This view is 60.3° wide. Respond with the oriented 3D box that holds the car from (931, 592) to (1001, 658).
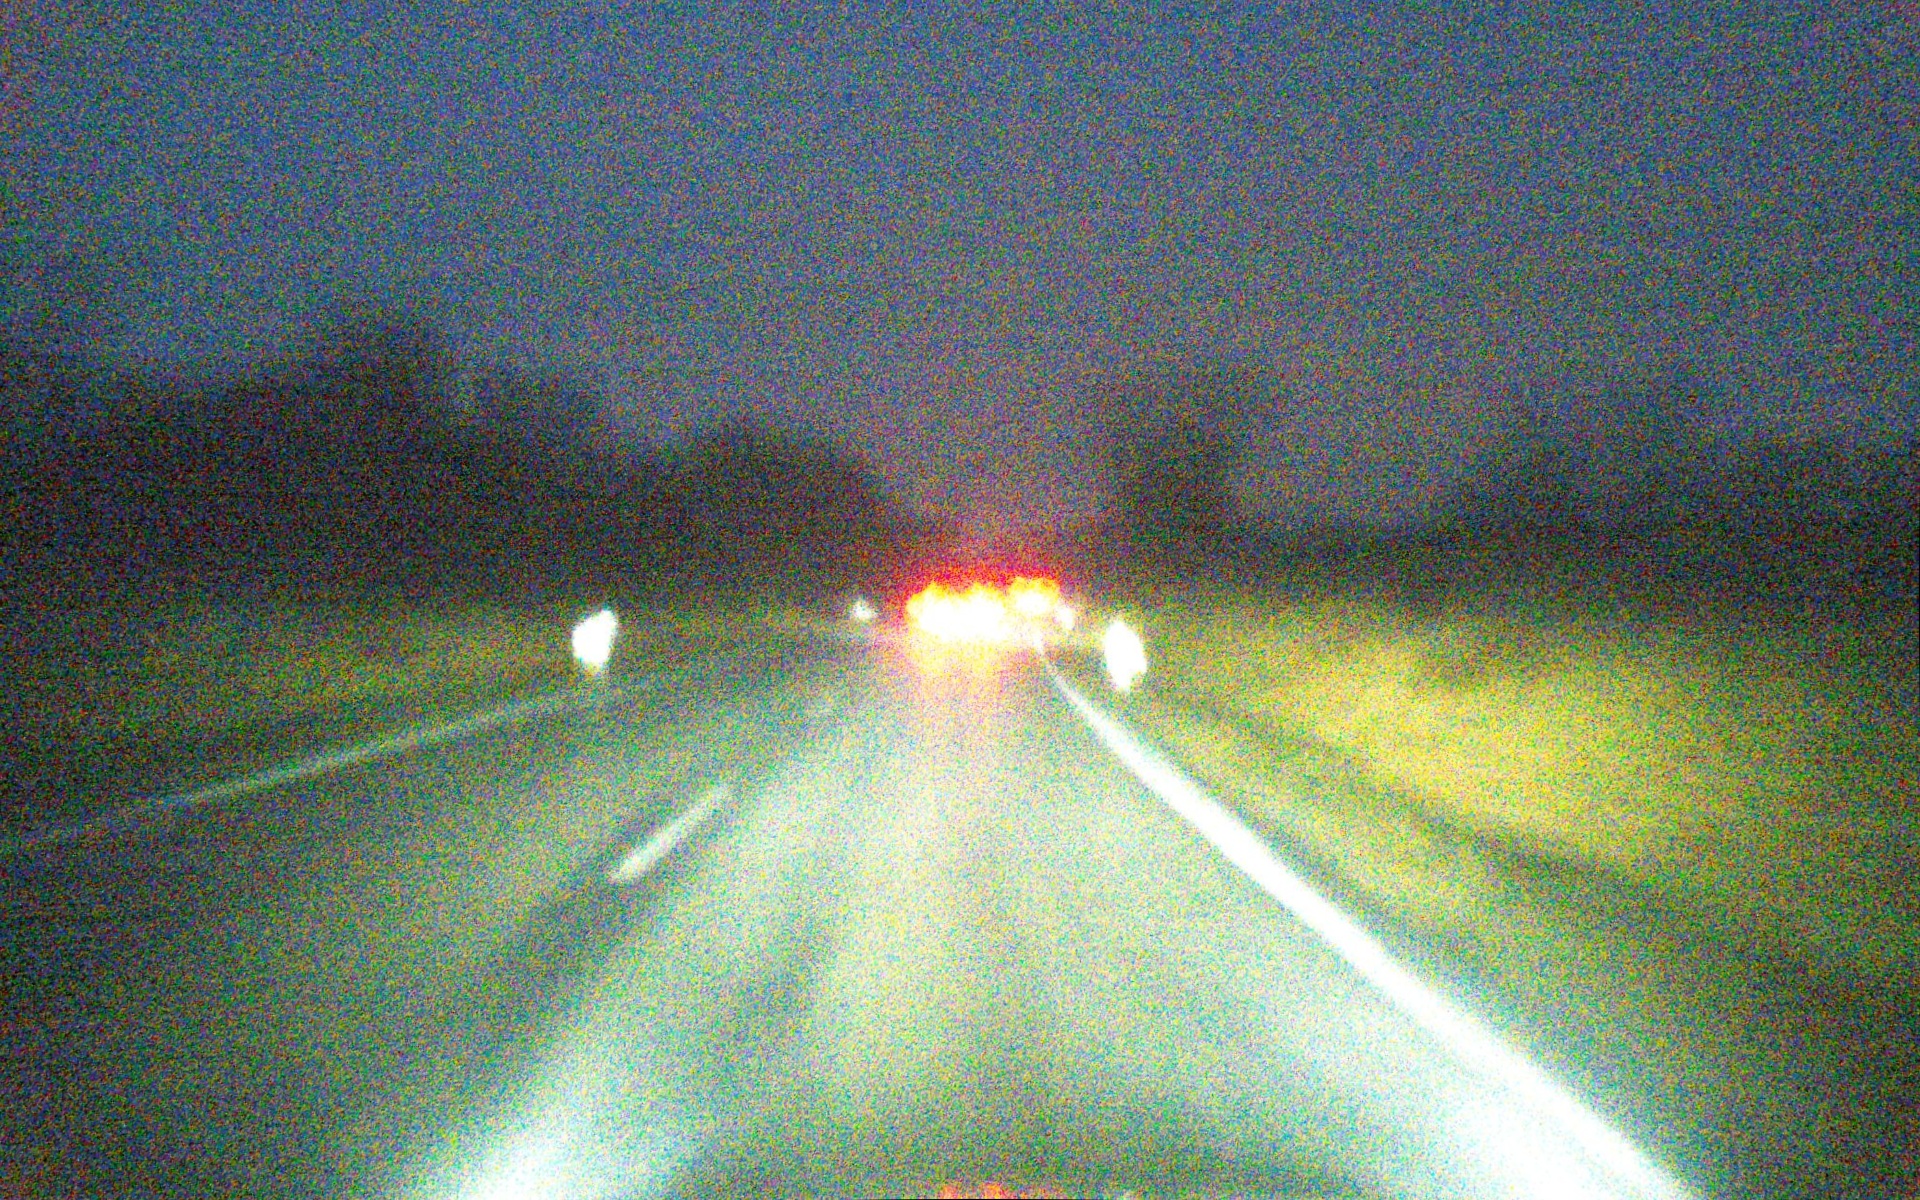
[{"bbox_3d":[0.201,0.672,46.459,1.804,1.771,4.001,0,0,2],"label":"car"}]
